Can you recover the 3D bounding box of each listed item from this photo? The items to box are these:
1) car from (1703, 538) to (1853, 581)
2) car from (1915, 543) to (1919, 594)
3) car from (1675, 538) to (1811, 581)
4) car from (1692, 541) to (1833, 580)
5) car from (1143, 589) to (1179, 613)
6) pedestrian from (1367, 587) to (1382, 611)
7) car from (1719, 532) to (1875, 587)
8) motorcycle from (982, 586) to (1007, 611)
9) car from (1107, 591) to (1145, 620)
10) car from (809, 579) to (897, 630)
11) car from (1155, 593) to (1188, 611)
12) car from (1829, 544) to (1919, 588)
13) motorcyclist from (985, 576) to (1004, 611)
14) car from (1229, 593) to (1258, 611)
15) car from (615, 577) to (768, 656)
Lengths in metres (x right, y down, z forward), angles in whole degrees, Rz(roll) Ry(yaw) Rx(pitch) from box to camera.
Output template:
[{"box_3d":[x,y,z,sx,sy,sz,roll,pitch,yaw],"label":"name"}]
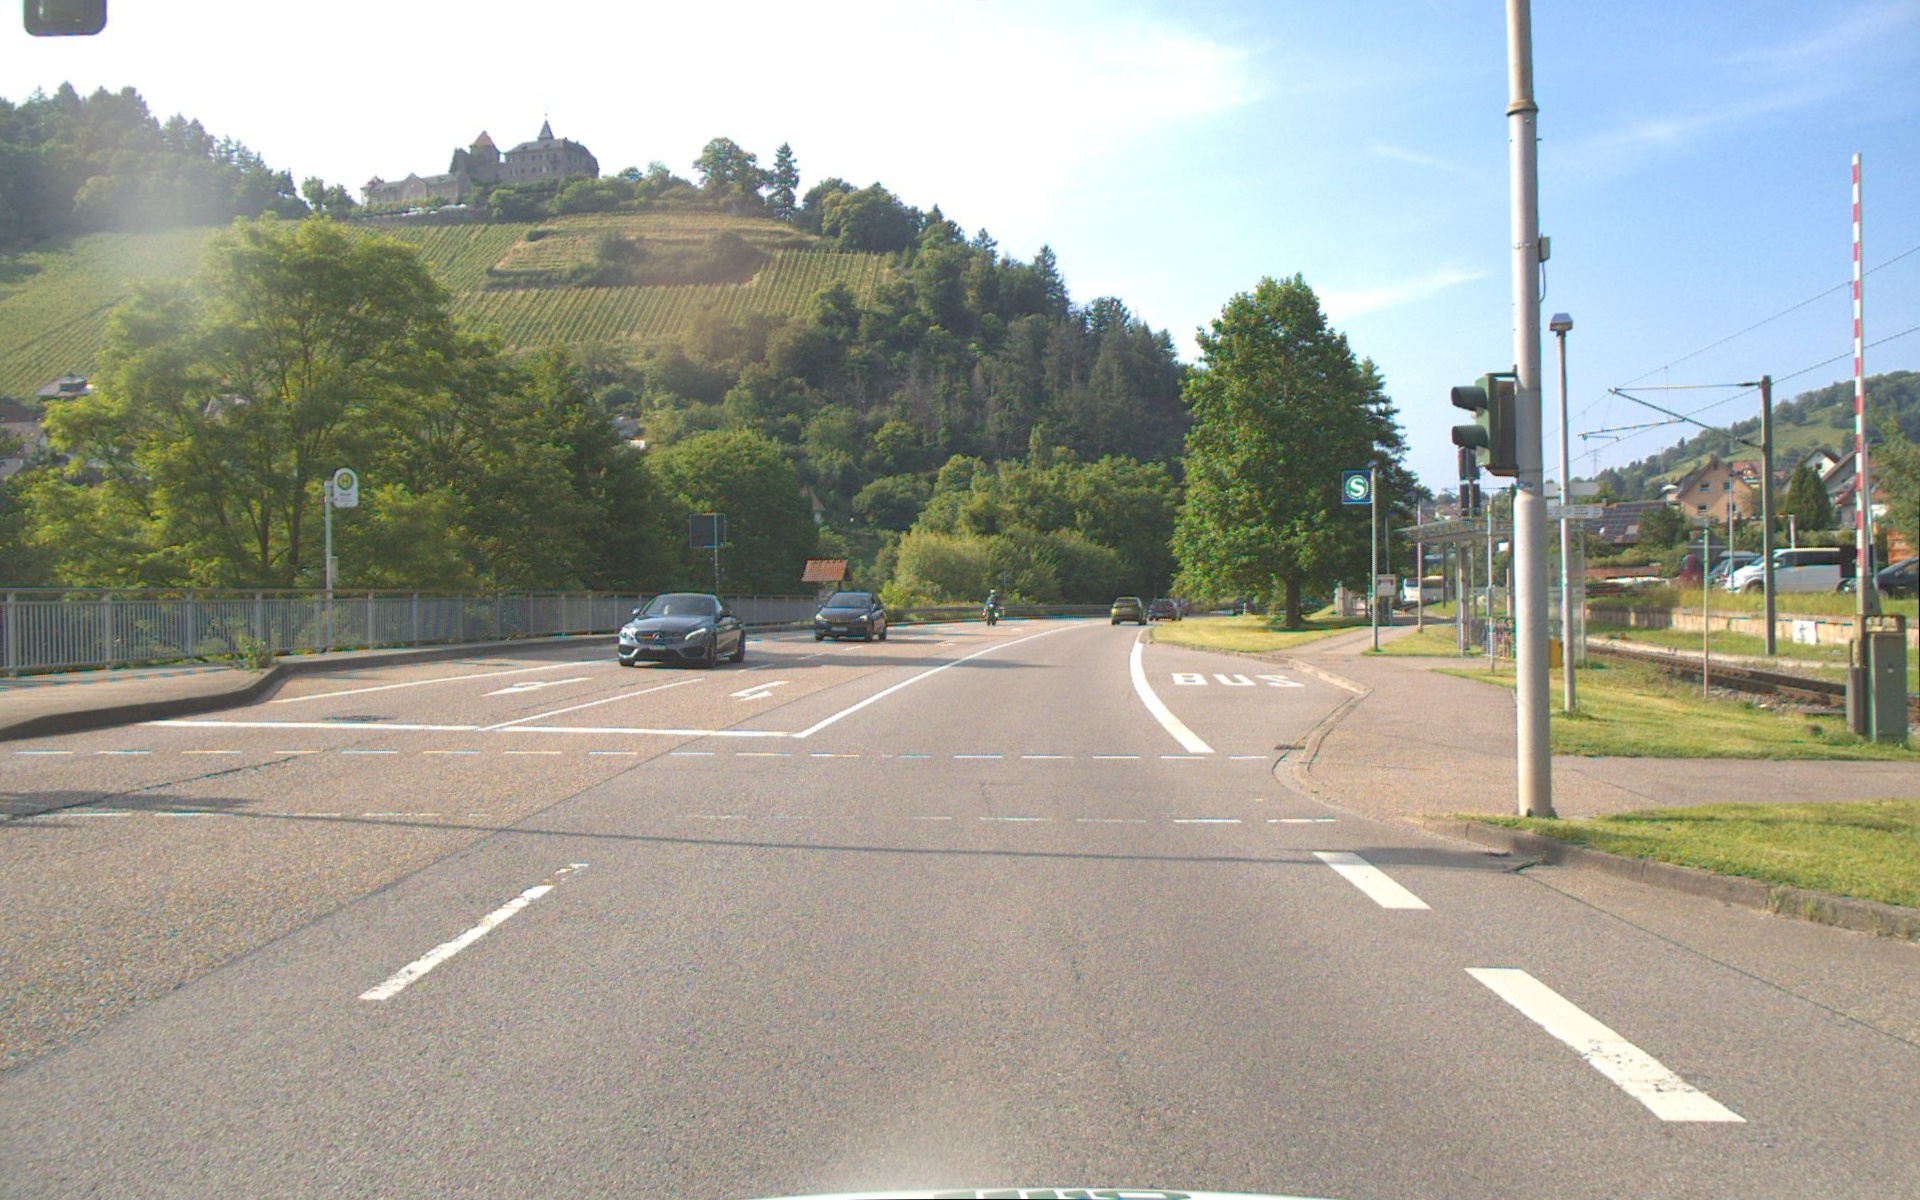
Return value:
[{"box_3d":[31.940,-1.562,64.731,4.845,1.615,2.143,0,0,11],"label":"car"},{"box_3d":[28.691,-0.890,45.309,4.008,1.422,1.811,0,0,11],"label":"car"},{"box_3d":[33.058,-1.697,69.916,4.845,1.720,1.938,0,0,11],"label":"car"},{"box_3d":[32.560,-1.577,67.229,4.845,1.494,1.897,0,0,11],"label":"car"},{"box_3d":[13.340,0.079,109.708,1.801,1.485,3.715,-2,0,15],"label":"car"},{"box_3d":[20.716,-0.058,82.663,0.622,1.181,0.726,-2,-1,19],"label":"pedestrian"},{"box_3d":[31.494,-1.500,62.371,4.845,1.977,2.143,0,0,11],"label":"car"},{"box_3d":[1.812,-0.075,85.943,0.951,1.242,2.574,1,0,8],"label":"motorcycle"},{"box_3d":[9.162,0.289,90.869,1.691,1.482,3.413,-2,0,11],"label":"car"},{"box_3d":[-3.268,0.122,51.405,1.747,1.504,4.758,0,0,9],"label":"car"},{"box_3d":[17.506,0.185,136.590,1.641,1.485,4.201,0,0,23],"label":"car"},{"box_3d":[30.315,-1.087,52.844,4.173,1.367,1.833,0,0,11],"label":"car"},{"box_3d":[1.801,-0.353,85.963,0.826,1.815,1.172,0,0,9],"label":"motorcyclist"},{"box_3d":[24.668,0.166,143.913,1.769,1.478,3.648,-2,-1,20],"label":"car"},{"box_3d":[-5.246,0.298,32.924,1.733,1.401,4.648,1,0,7],"label":"car"}]
